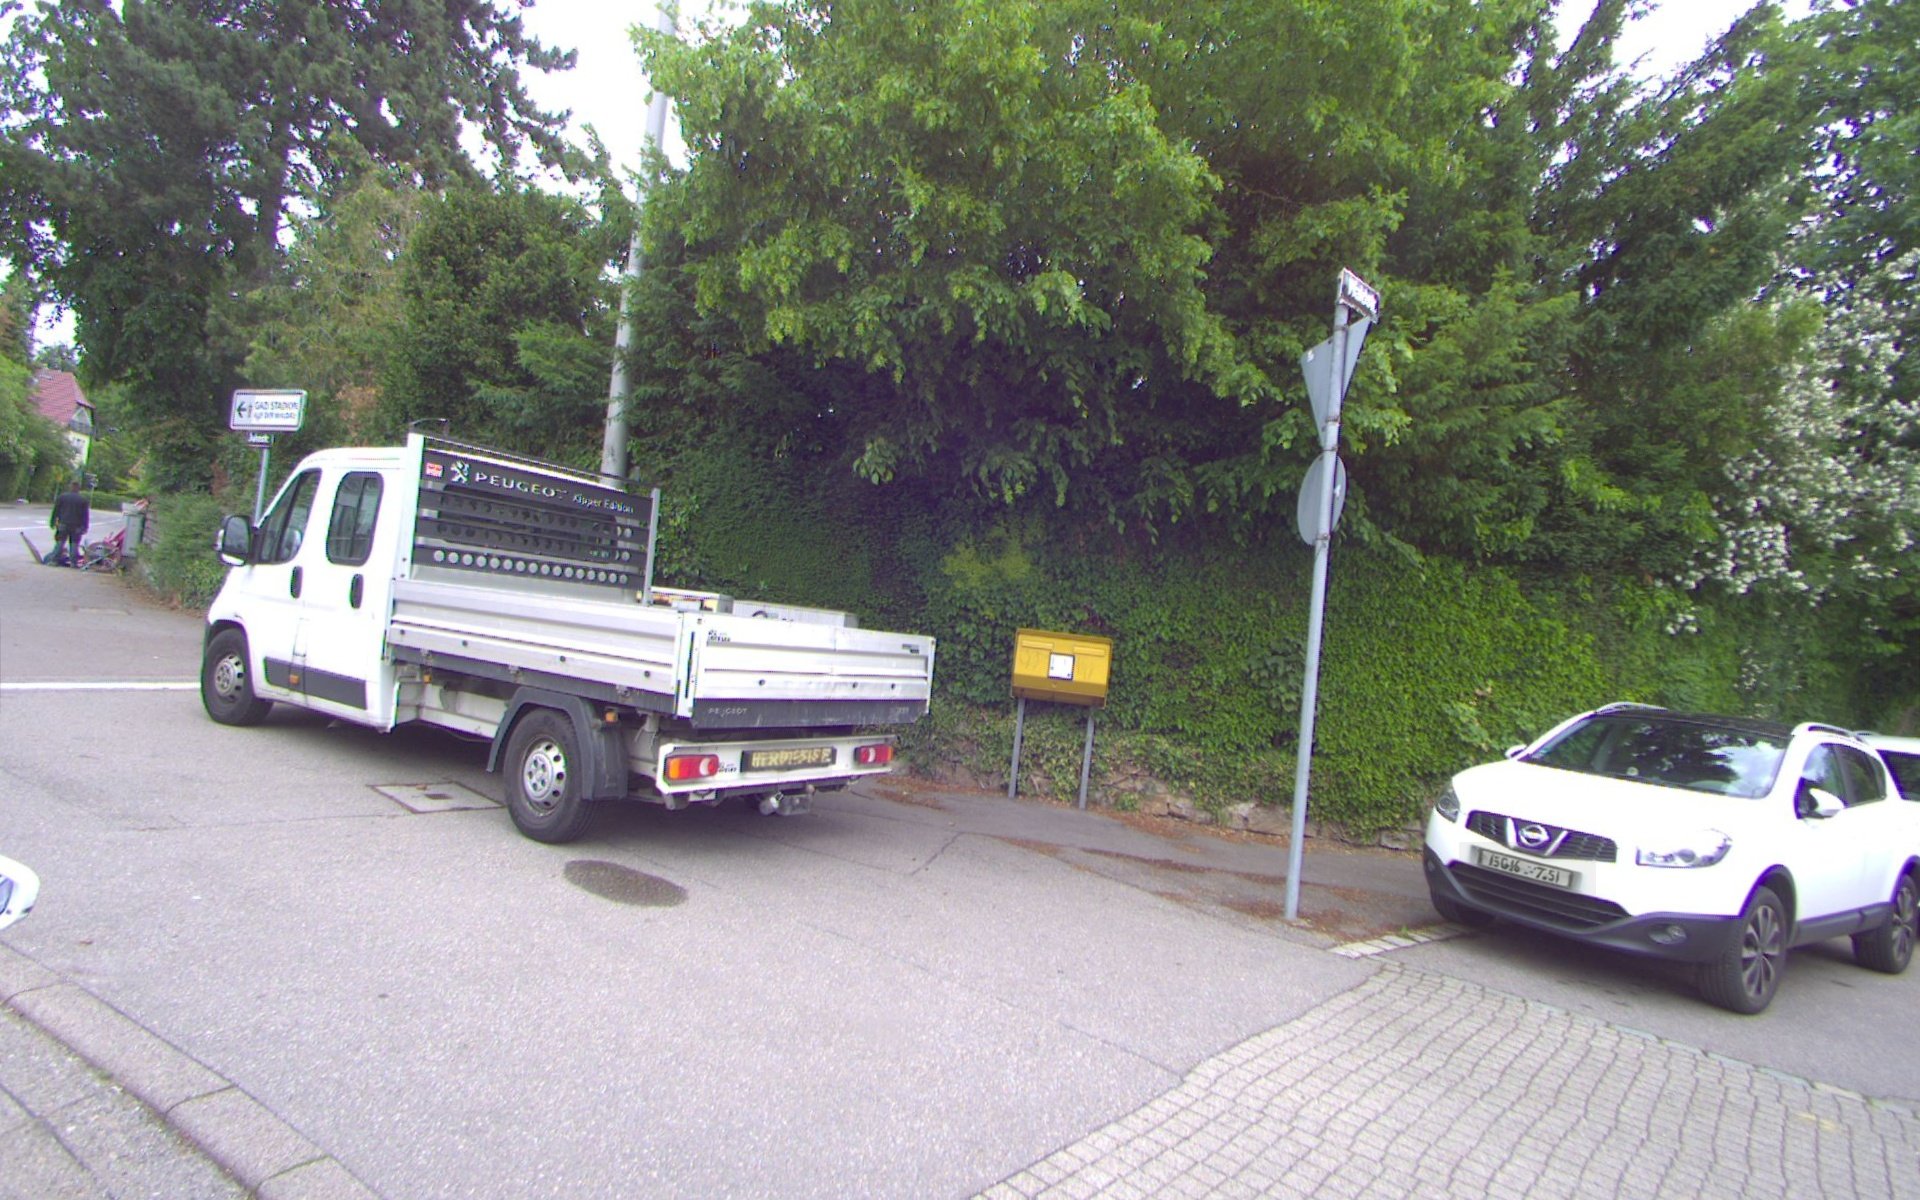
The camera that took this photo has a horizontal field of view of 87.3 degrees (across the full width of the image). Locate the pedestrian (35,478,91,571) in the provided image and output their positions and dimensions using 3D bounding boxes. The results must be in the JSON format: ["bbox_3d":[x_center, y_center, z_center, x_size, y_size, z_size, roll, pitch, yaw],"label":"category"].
[{"bbox_3d":[-19.658,-1.647,22.052,0.549,1.929,0.597,7,-1,32],"label":"pedestrian"}]

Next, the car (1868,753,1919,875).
[{"bbox_3d":[13.848,2.964,13.491,4.040,1.440,1.781,8,-2,-38],"label":"car"}]

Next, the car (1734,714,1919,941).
[{"bbox_3d":[9.048,2.120,9.473,4.041,1.641,1.781,9,-3,-38],"label":"car"}]

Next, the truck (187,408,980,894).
[{"bbox_3d":[-2.931,0.088,7.165,5.631,2.270,2.211,6,-2,34],"label":"truck"}]

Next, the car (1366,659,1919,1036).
[{"bbox_3d":[4.769,1.474,6.660,4.098,1.641,1.783,9,-2,-34],"label":"car"}]
